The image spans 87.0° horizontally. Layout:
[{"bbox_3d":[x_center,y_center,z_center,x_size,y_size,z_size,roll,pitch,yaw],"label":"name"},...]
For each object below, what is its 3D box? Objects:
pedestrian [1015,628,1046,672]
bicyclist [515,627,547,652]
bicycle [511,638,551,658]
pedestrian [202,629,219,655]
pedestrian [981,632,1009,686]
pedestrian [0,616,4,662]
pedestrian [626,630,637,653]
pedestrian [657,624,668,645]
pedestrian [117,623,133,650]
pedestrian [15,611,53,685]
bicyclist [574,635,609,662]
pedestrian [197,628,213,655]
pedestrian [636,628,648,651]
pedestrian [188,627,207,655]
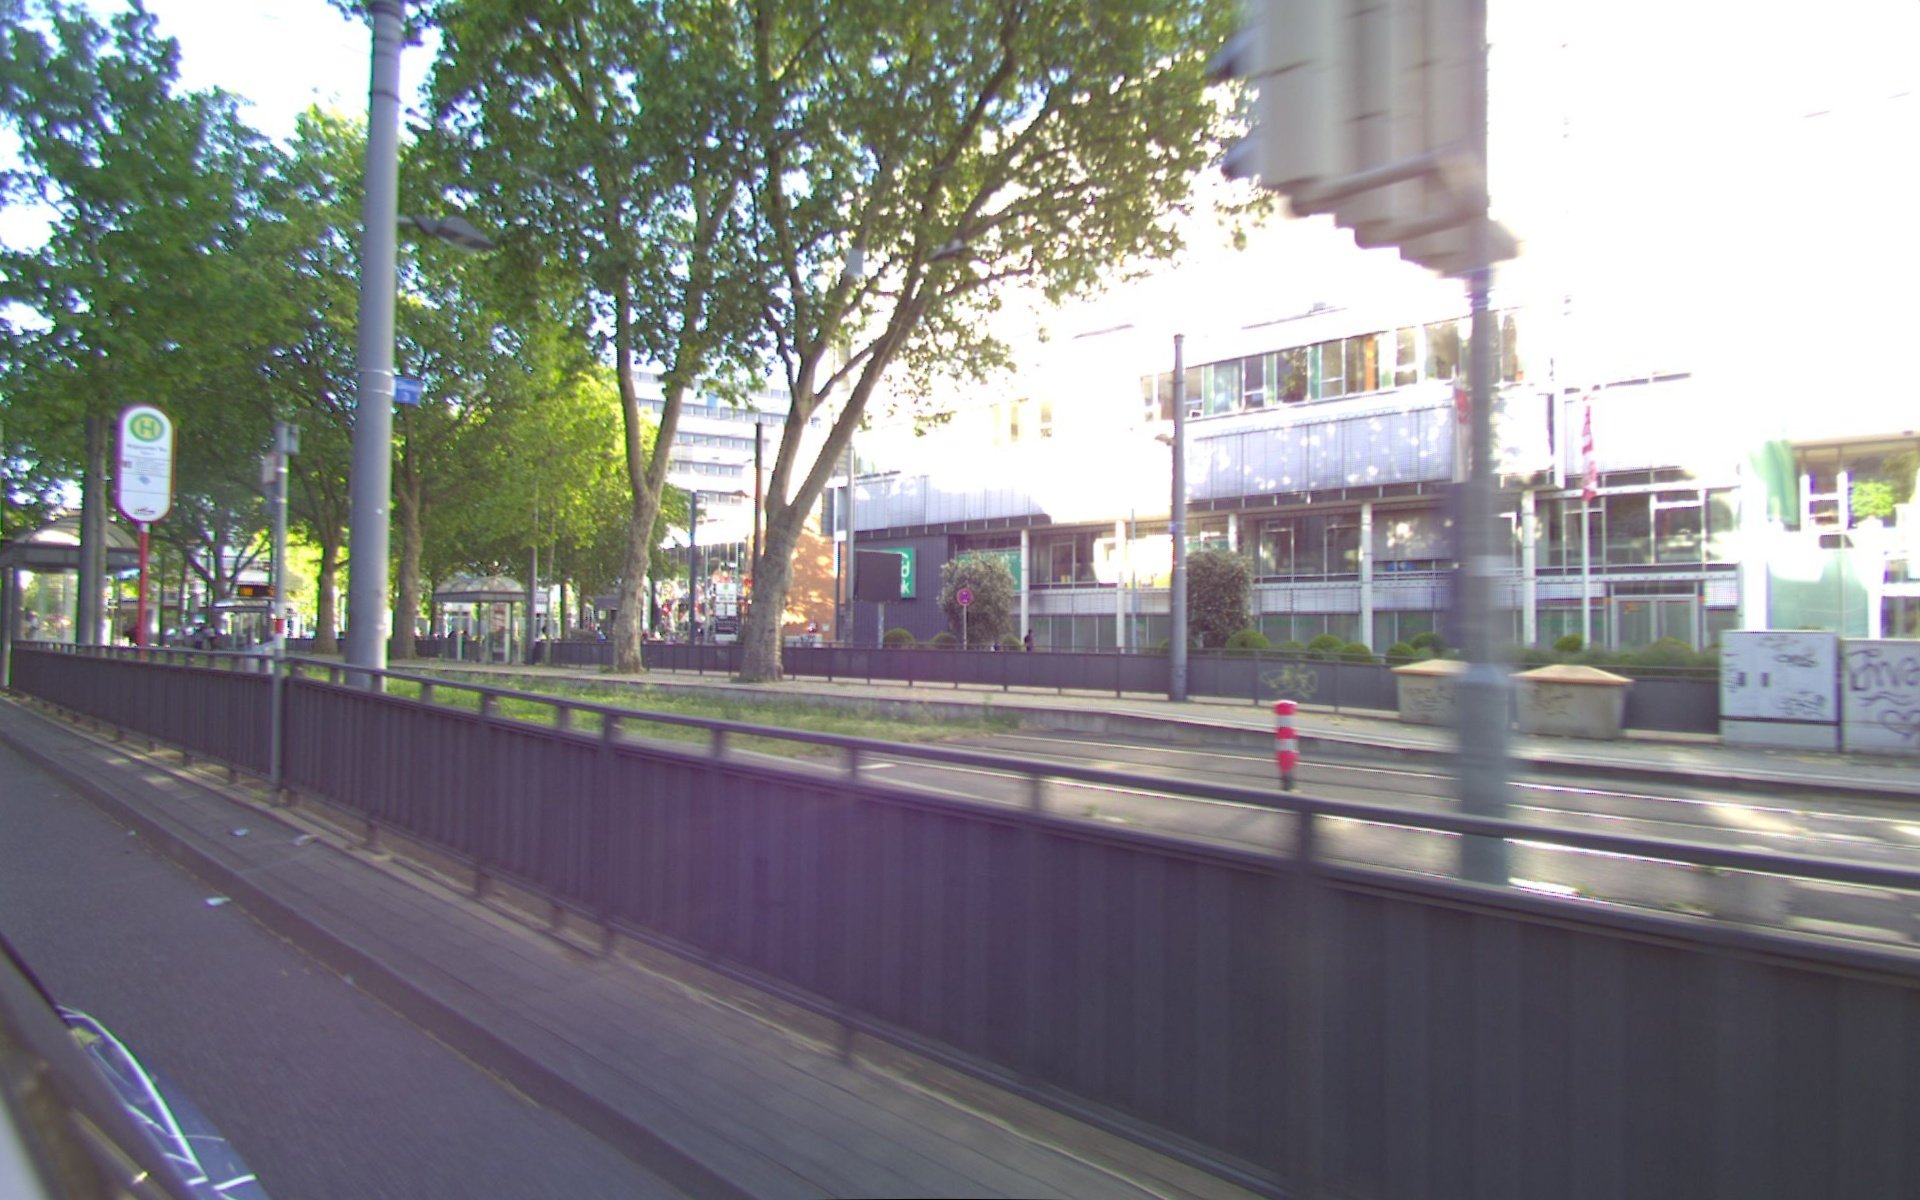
[{"bbox_3d":[2.644,1.866,37.883,0.767,1.604,0.896,-2,-3,40],"label":"pedestrian"},{"bbox_3d":[-22.308,2.060,52.582,1.373,1.259,0.994,-2,-2,39],"label":"bicyclist"},{"bbox_3d":[-22.308,2.492,52.590,2.583,1.004,0.792,-2,-2,39],"label":"bicycle"},{"bbox_3d":[-42.992,2.417,58.066,0.605,1.497,0.565,-1,-2,30],"label":"pedestrian"},{"bbox_3d":[1.307,2.219,38.112,0.833,1.991,0.599,-2,-2,39],"label":"pedestrian"},{"bbox_3d":[-39.079,1.585,40.842,0.638,1.853,0.640,-2,-3,41],"label":"pedestrian"},{"bbox_3d":[-23.501,2.946,72.423,0.571,1.616,0.580,2,-2,-44],"label":"pedestrian"},{"bbox_3d":[-23.150,2.675,78.683,0.597,1.616,0.572,-2,-2,40],"label":"pedestrian"},{"bbox_3d":[-55.959,2.449,67.838,0.674,1.767,0.649,-1,-2,33],"label":"pedestrian"},{"bbox_3d":[-24.138,1.249,26.376,0.753,1.886,0.638,-2,-2,42],"label":"pedestrian"},{"bbox_3d":[-17.375,2.279,47.749,1.373,1.259,0.994,-2,-2,39],"label":"bicyclist"},{"bbox_3d":[-43.515,2.395,58.355,0.549,1.509,0.548,-1,-2,30],"label":"pedestrian"},{"bbox_3d":[-22.860,2.838,72.791,0.571,1.616,0.598,2,-2,-44],"label":"pedestrian"},{"bbox_3d":[-45.238,2.419,60.047,0.667,1.654,0.662,-1,-2,30],"label":"pedestrian"}]
